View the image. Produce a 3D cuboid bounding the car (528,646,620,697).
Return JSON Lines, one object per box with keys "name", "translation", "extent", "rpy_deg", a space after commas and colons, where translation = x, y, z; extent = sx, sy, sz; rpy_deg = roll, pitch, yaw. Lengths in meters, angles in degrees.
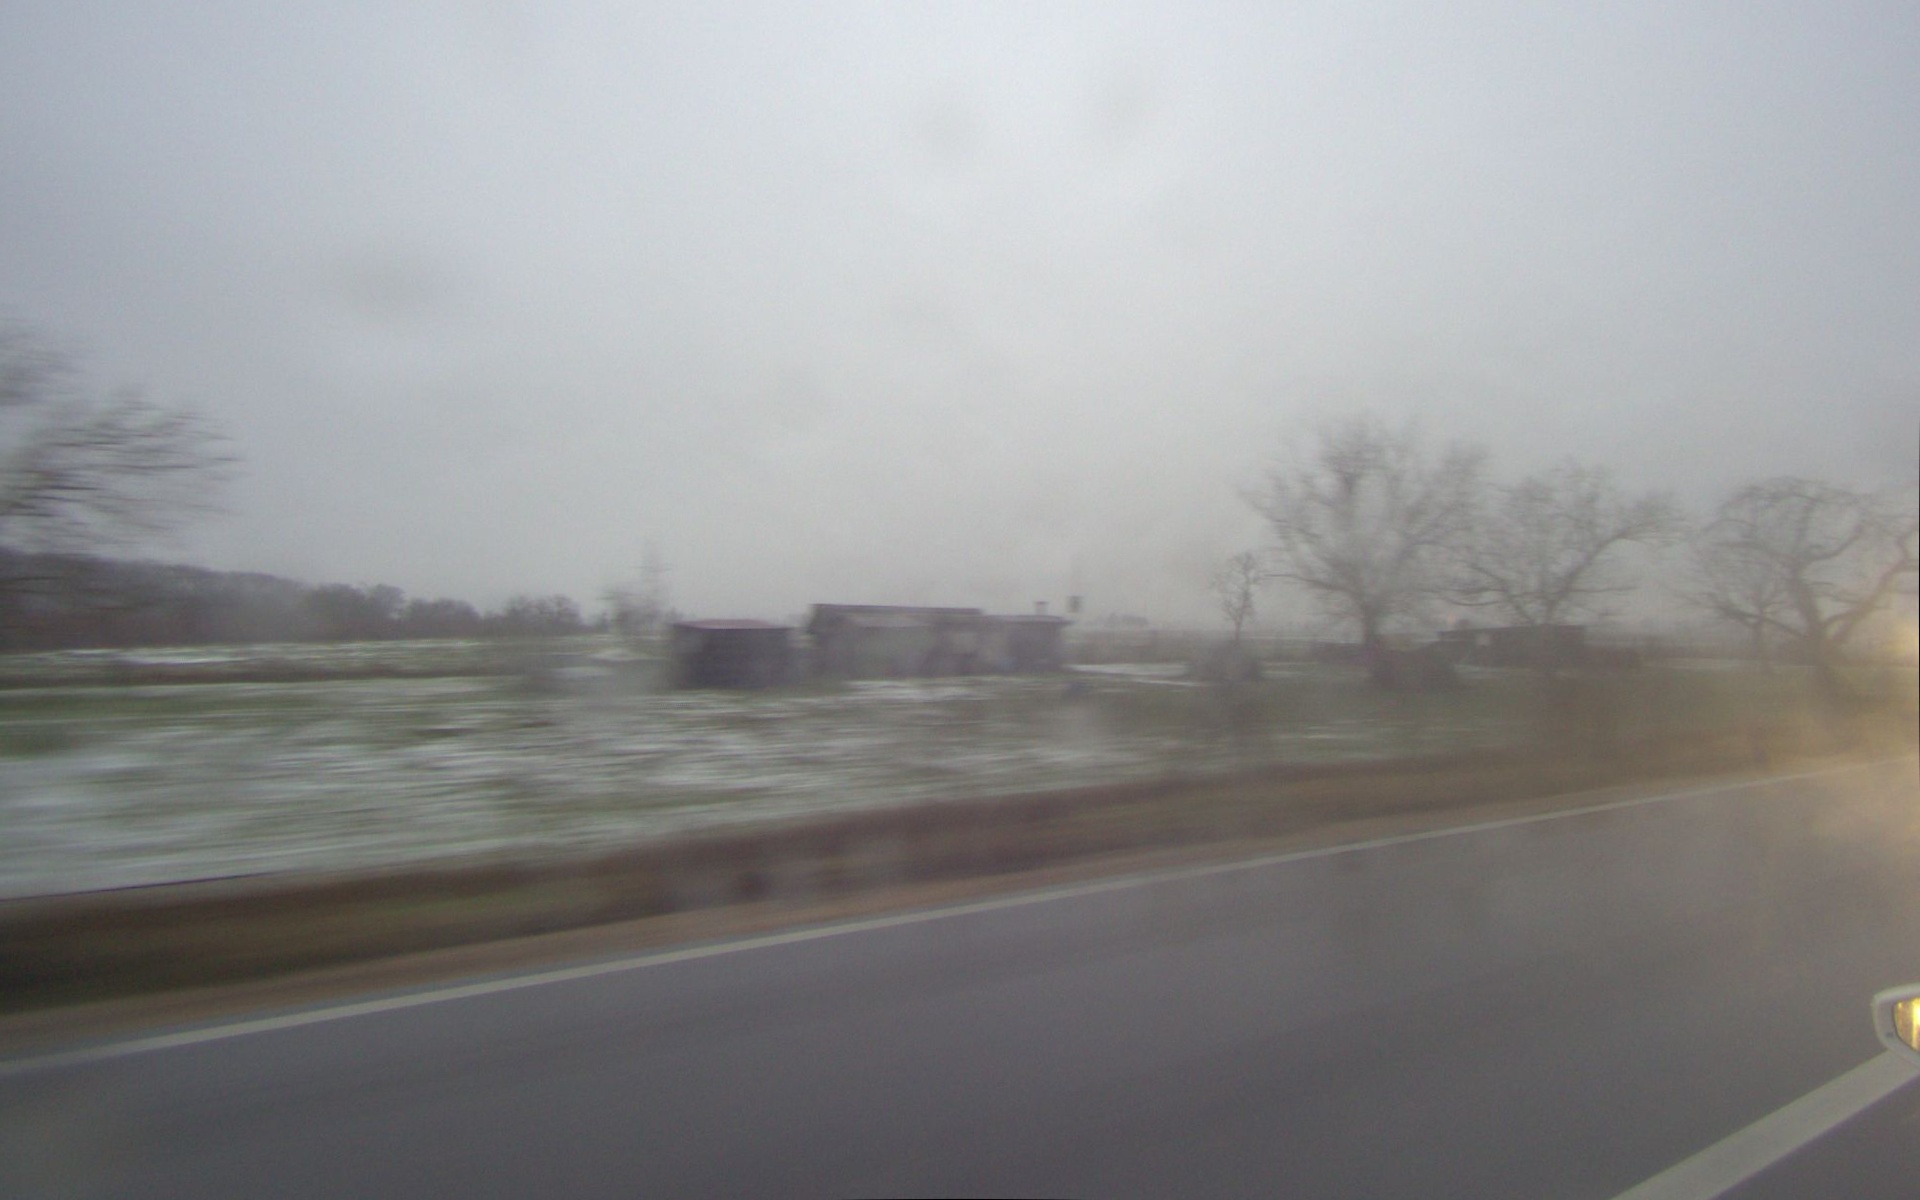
{"name": "car", "translation": [-12.500, 2.270, 32.427], "extent": [1.588, 1.360, 3.407], "rpy_deg": [1, 0, -43]}
